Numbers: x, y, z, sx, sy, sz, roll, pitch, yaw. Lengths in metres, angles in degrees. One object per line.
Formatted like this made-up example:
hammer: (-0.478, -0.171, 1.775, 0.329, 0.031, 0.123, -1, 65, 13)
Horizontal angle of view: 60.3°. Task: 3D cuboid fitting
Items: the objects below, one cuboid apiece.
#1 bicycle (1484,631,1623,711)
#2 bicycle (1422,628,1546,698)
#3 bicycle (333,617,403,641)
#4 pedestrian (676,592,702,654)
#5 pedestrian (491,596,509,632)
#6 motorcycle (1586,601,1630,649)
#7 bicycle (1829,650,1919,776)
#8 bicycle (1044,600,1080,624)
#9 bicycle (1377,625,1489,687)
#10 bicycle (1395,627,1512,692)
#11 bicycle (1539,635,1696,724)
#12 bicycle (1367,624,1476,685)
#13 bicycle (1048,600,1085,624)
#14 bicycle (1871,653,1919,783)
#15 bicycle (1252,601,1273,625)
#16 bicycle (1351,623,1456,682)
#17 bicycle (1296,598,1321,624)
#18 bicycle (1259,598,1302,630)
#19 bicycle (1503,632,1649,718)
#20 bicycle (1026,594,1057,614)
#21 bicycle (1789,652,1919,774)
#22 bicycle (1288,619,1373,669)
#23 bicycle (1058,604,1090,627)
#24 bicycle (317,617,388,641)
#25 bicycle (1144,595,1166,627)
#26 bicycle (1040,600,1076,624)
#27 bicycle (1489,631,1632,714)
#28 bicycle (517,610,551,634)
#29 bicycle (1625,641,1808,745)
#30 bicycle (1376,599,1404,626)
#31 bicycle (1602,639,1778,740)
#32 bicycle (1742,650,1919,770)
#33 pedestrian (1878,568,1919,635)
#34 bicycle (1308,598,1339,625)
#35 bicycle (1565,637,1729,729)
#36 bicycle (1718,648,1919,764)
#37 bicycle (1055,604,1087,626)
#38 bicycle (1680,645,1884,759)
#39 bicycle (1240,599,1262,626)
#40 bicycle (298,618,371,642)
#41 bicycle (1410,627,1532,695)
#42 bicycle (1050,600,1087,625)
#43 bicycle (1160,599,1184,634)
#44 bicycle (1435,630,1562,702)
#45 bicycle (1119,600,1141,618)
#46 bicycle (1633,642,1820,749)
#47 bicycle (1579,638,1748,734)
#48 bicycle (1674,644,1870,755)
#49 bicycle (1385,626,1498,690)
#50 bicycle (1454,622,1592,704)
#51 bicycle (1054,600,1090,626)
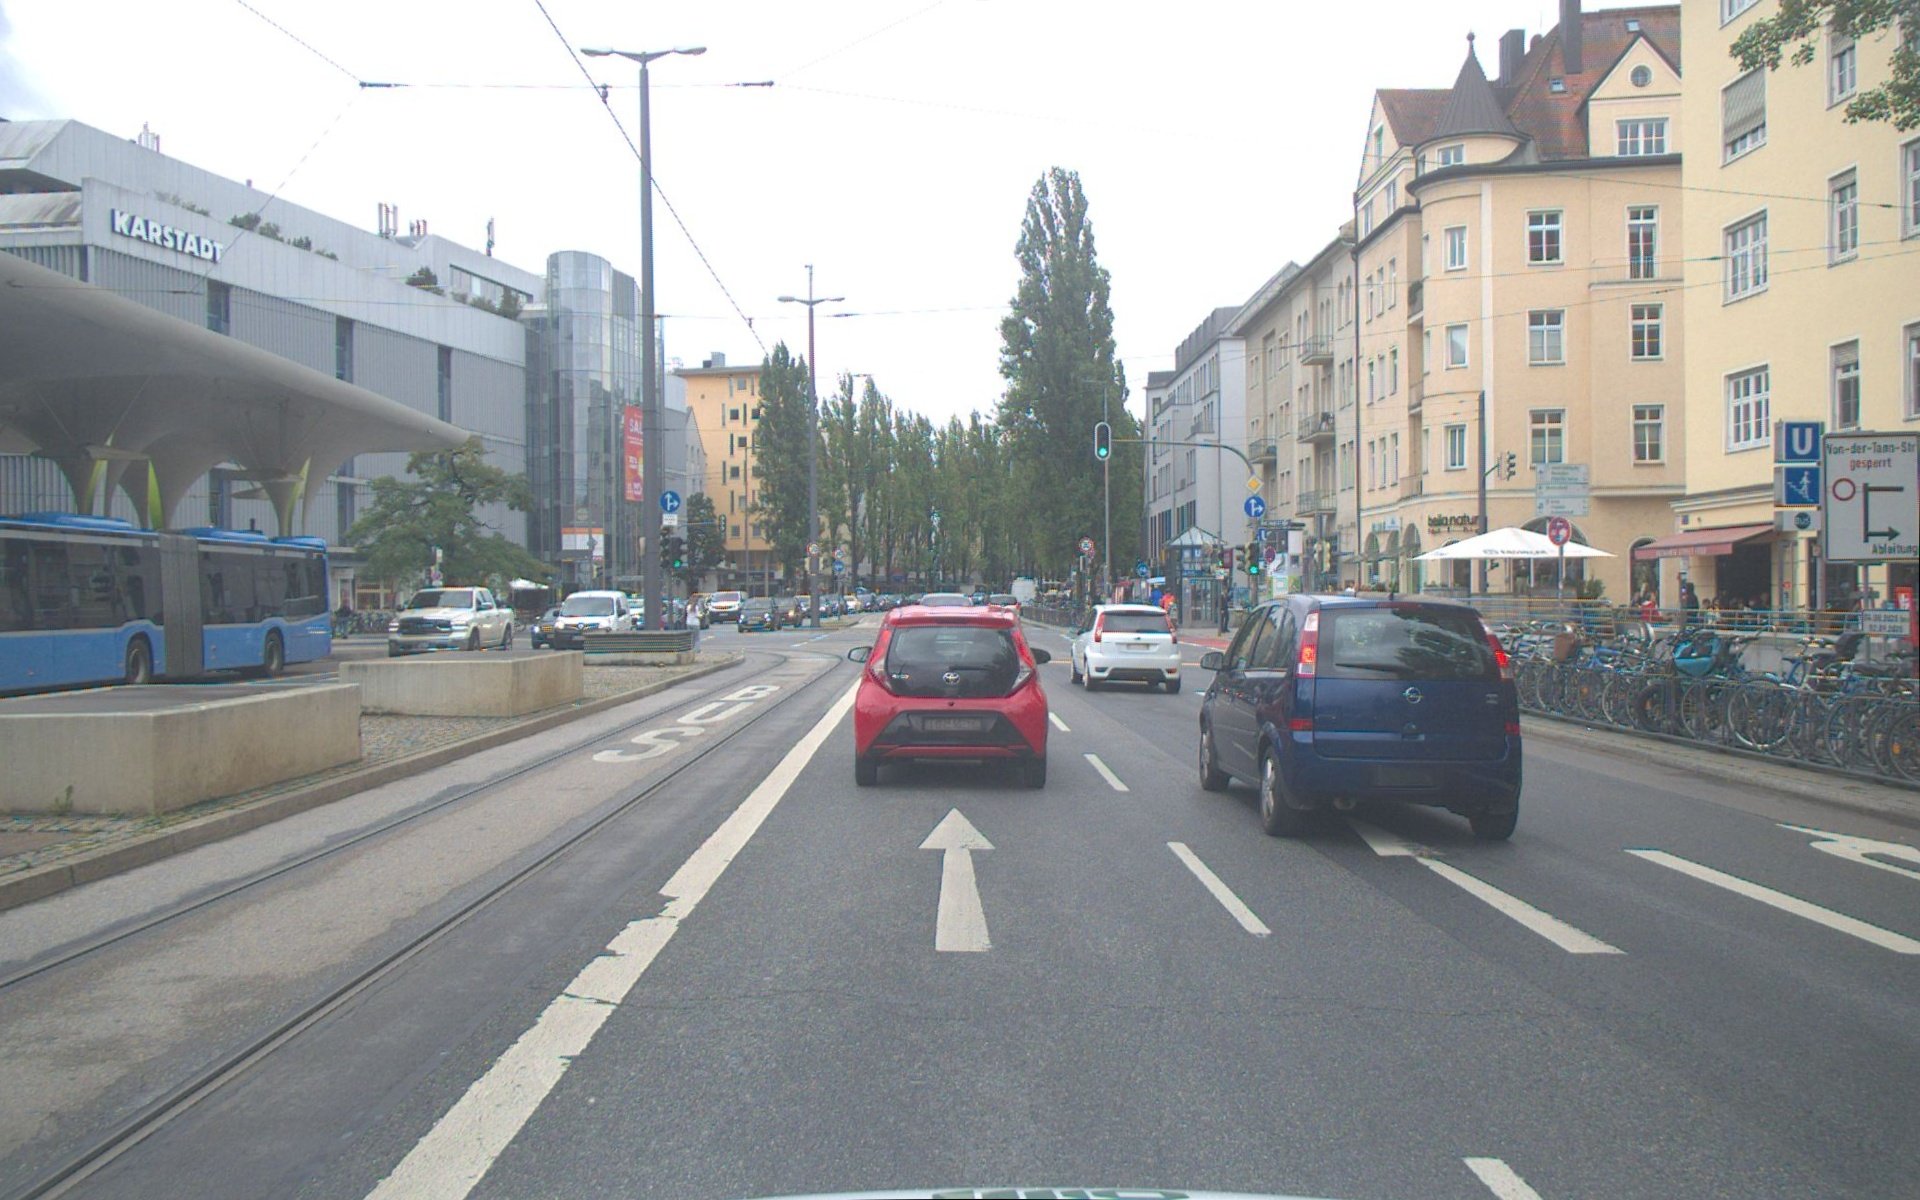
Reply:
bicycle: (8.199, 0.965, 22.916, 1.808, 1.013, 0.323, 1, 2, 40)
bicycle: (7.948, 0.951, 25.141, 1.810, 1.013, 0.345, -2, 0, 44)
bicycle: (-31.181, 1.525, 87.145, 3.419, 1.177, 1.061, -1, 0, 12)
pedestrian: (-7.248, 0.613, 44.262, 0.482, 1.646, 0.551, -1, 0, -35)
pedestrian: (-23.343, 0.711, 83.962, 0.739, 1.804, 0.767, -1, 0, -24)
motorcycle: (16.399, 0.614, 41.870, 0.476, 1.176, 1.571, -1, 0, 0)
bicycle: (8.307, 0.966, 13.834, 1.806, 1.013, 0.374, 1, 2, 37)
bicycle: (5.110, 0.600, 82.845, 1.765, 1.178, 0.486, -1, 0, 30)
bicycle: (7.969, 0.940, 27.904, 1.807, 1.013, 0.346, -2, 0, 39)
bicycle: (7.888, 0.945, 26.495, 1.810, 1.013, 0.346, -2, 0, 44)
bicycle: (8.237, 0.983, 20.780, 1.805, 1.013, 0.324, 1, 2, 36)
bicycle: (7.959, 0.938, 28.559, 1.807, 1.013, 0.346, -2, 0, 39)
bicycle: (5.245, 0.587, 81.531, 1.763, 1.178, 0.486, -1, 0, 26)
bicycle: (8.260, 0.967, 13.085, 1.806, 1.013, 0.374, 1, 2, 37)
bicycle: (12.632, 0.528, 69.072, 0.484, 0.992, 1.866, -1, 0, 0)
bicycle: (7.854, 0.933, 29.365, 1.807, 1.013, 0.346, -2, 0, 39)
bicycle: (14.540, 0.457, 68.974, 0.485, 1.077, 1.864, -1, 0, -5)
bicycle: (12.430, 0.534, 64.167, 1.536, 1.180, 0.525, -2, 2, 2)
bicycle: (8.040, 0.965, 21.644, 1.811, 1.013, 0.323, 2, 2, 44)
bicycle: (4.733, 0.253, 96.032, 1.805, 1.156, 0.583, 0, 0, 43)
bicycle: (8.335, 0.999, 14.586, 1.799, 1.013, 0.375, 1, 1, 24)
bicycle: (7.794, 0.921, 34.838, 1.811, 1.013, 0.345, -2, 0, 44)
bicycle: (5.323, 0.702, 77.130, 0.495, 1.046, 1.576, -1, 0, -42)
bicycle: (-31.468, 1.523, 85.707, 3.419, 1.177, 1.061, -1, 0, 12)
bicycle: (8.179, 0.467, 69.379, 0.601, 1.287, 2.519, -1, 0, 0)
bicycle: (4.991, 0.605, 84.220, 1.768, 1.178, 0.650, -1, 0, 36)
bicycle: (8.094, 0.964, 22.338, 1.808, 1.013, 0.323, 1, 2, 40)
bicycle: (-20.728, 1.061, 80.500, 1.541, 1.131, 0.373, 0, 0, 3)
bicycle: (8.243, 0.991, 18.078, 1.809, 1.013, 0.323, 1, 2, 42)
bicycle: (18.194, 0.518, 70.005, 0.485, 1.108, 1.864, -1, 0, -6)
bicycle: (8.225, 0.990, 18.697, 1.809, 1.013, 0.323, 1, 2, 42)
bicycle: (8.244, 1.003, 15.283, 1.806, 1.013, 0.324, 1, 2, 37)
pedestrian: (20.244, 0.027, 35.673, 0.534, 1.421, 0.547, 0, 0, -27)
bicycle: (15.204, 0.470, 69.226, 0.486, 1.077, 1.858, -1, 0, -15)
bicycle: (8.289, 0.987, 20.012, 1.805, 1.013, 0.324, 1, 2, 36)
bicycle: (8.308, 1.002, 15.925, 1.803, 1.013, 0.324, 1, 1, 32)
bicycle: (5.240, 0.695, 77.985, 0.495, 1.046, 1.576, -1, 0, -42)
bicycle: (8.205, 0.997, 16.575, 1.809, 1.013, 0.323, 1, 2, 42)
bicycle: (12.141, 0.516, 69.085, 0.555, 1.127, 1.866, -1, 0, -1)
bicycle: (-31.799, 1.520, 84.069, 3.419, 1.177, 1.061, -1, 0, 12)
bicycle: (7.964, 0.949, 25.807, 1.807, 1.013, 0.346, -2, 0, 40)
bicycle: (5.244, 0.591, 80.038, 1.770, 1.178, 0.546, -1, 0, 38)
bicycle: (8.136, 0.609, 63.518, 0.601, 1.287, 2.519, -1, 0, 0)
bicycle: (7.914, 0.953, 24.366, 1.811, 1.013, 0.323, -1, 0, 44)
bicycle: (9.629, 0.516, 93.508, 1.208, 0.980, 0.367, -1, 0, -23)
bicycle: (8.141, 0.990, 17.634, 0.322, 1.013, 1.813, -1, 2, -43)
bicycle: (8.235, 0.988, 19.408, 1.805, 1.013, 0.324, 1, 2, 36)
bicycle: (8.324, 0.998, 17.015, 0.322, 1.013, 1.813, -1, 2, -43)
bicycle: (7.906, 0.943, 27.213, 1.810, 1.013, 0.346, -2, 0, 44)
bicycle: (8.047, 0.888, 23.666, 1.803, 1.132, 0.466, -1, 0, 32)
bicycle: (5.313, 0.610, 78.646, 1.773, 1.219, 0.555, 0, 0, 43)
